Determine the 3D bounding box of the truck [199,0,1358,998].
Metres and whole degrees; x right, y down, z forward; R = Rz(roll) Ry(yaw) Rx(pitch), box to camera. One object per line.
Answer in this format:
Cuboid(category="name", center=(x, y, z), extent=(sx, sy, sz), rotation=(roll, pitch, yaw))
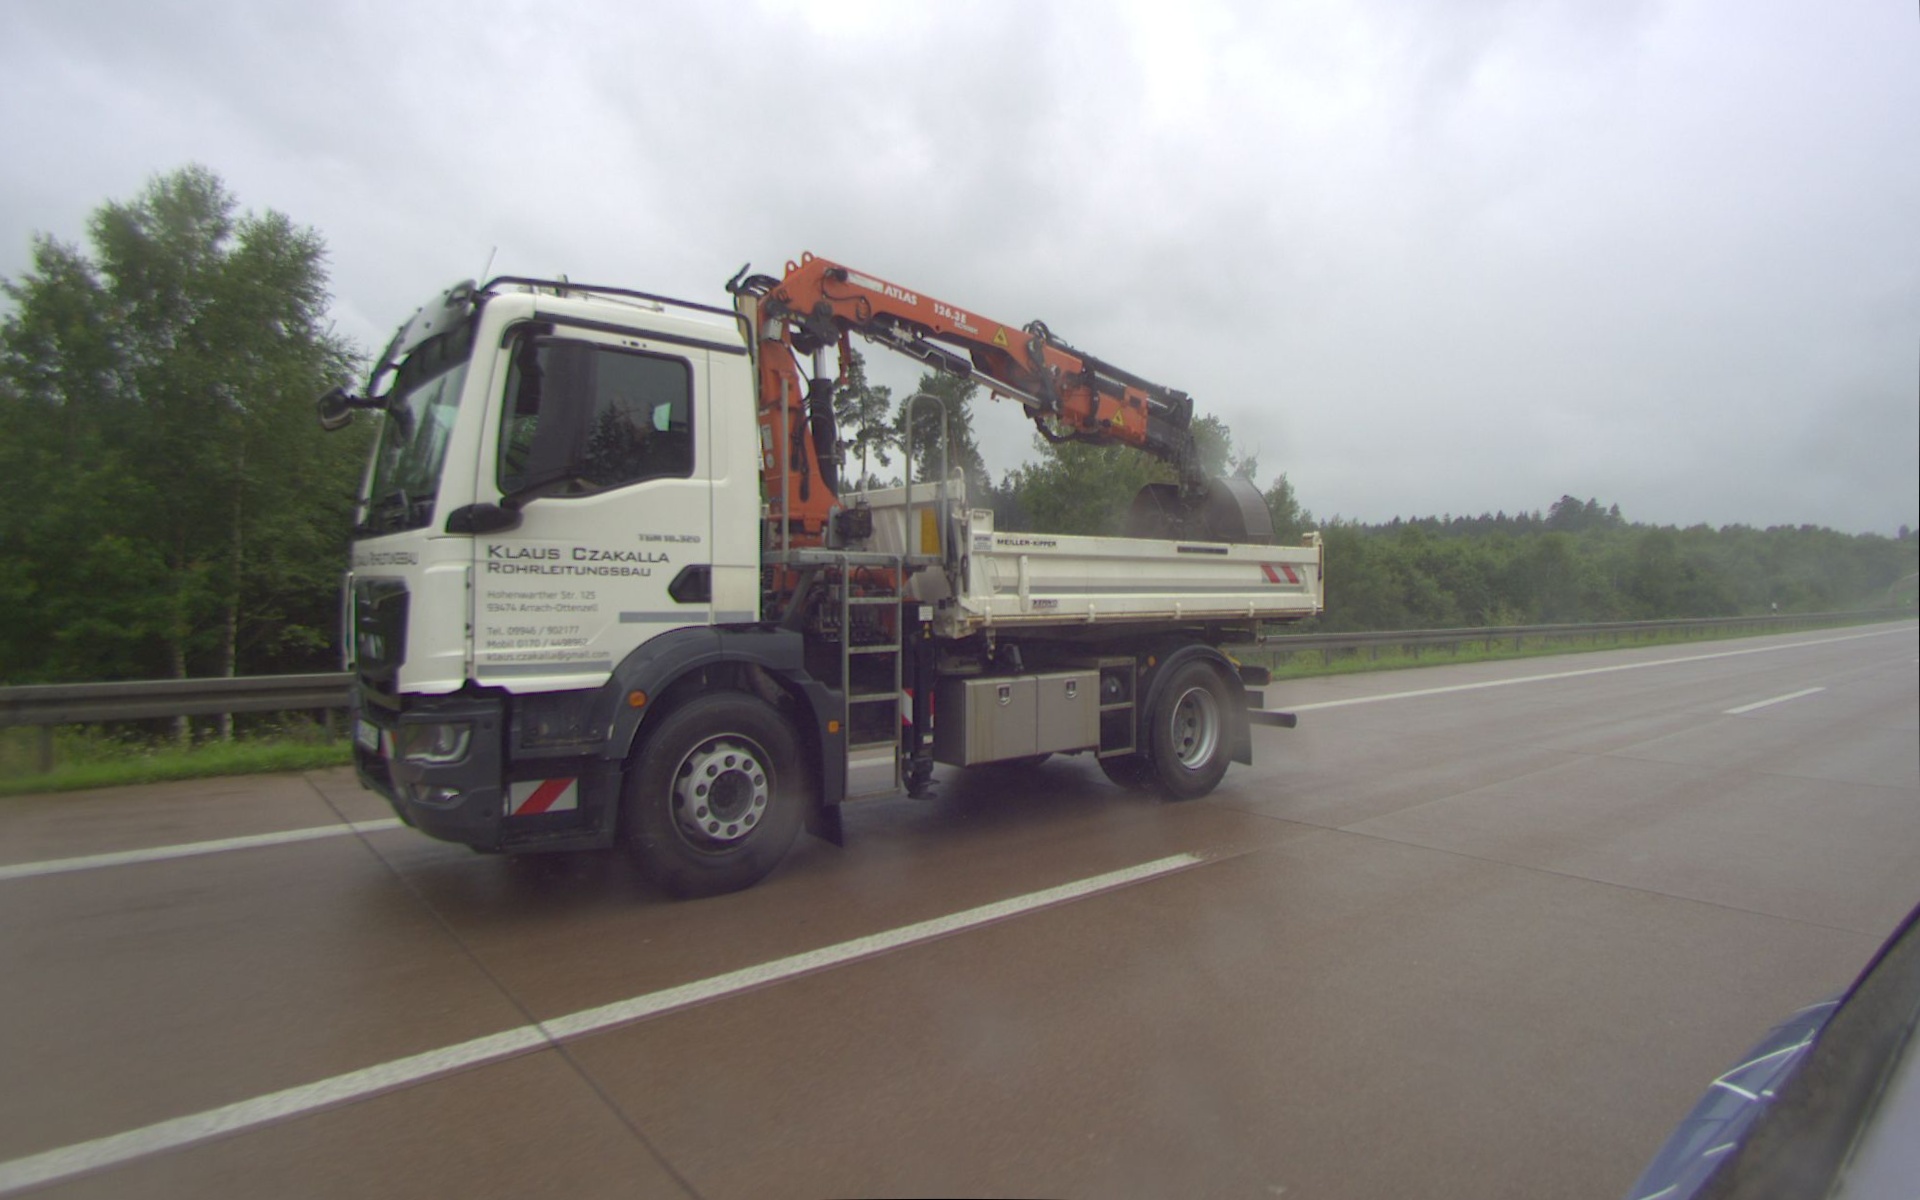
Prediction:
Cuboid(category="truck", center=(-0.590, -0.494, 7.407), extent=(7.814, 3.777, 3.240), rotation=(0, 0, -40))
